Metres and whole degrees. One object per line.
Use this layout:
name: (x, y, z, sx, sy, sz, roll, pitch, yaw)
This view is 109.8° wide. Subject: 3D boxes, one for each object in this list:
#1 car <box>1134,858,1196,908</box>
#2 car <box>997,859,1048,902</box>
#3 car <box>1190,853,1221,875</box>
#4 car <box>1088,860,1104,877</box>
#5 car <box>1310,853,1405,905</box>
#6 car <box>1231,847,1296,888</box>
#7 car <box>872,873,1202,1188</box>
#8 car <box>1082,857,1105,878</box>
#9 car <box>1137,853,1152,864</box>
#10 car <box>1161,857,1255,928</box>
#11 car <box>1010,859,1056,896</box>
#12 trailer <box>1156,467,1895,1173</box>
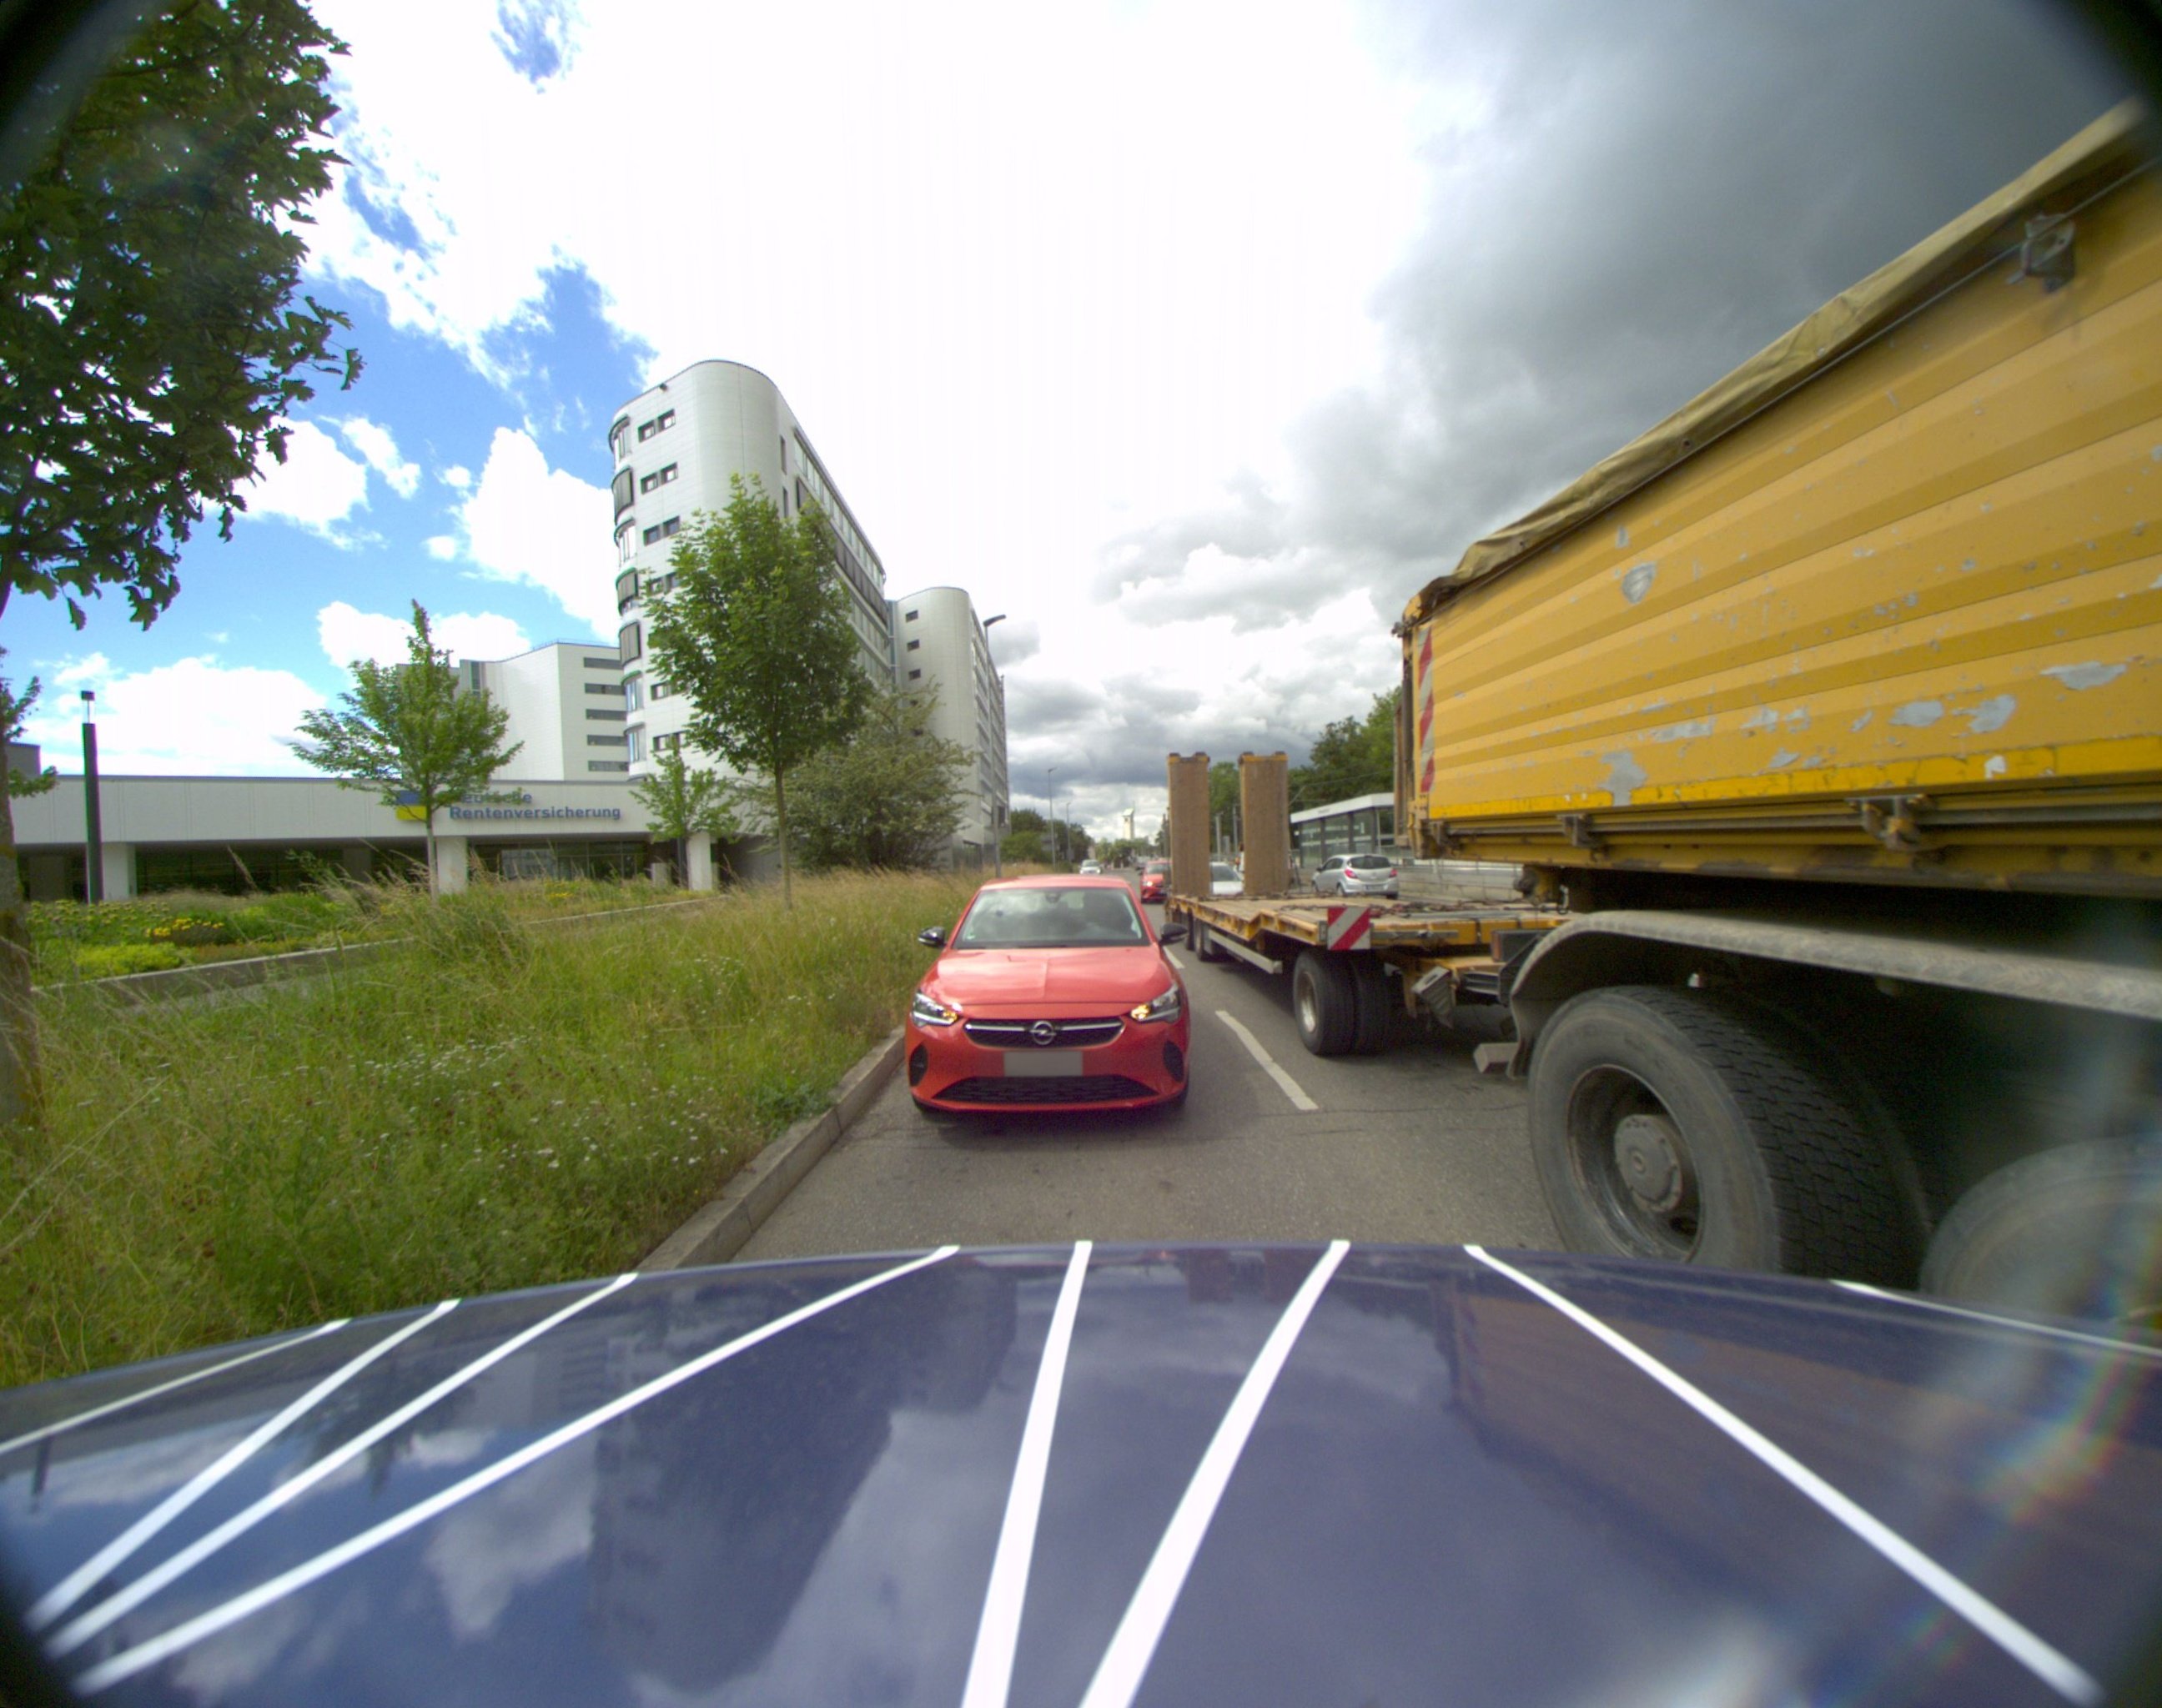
car: (2.805, 0.930, 26.172, 1.692, 1.471, 3.999, -2, 1, 1)
car: (-2.293, 1.007, 30.657, 1.738, 1.565, 3.445, -2, 0, 0)
car: (9.085, 0.738, 55.636, 1.644, 1.489, 3.554, -2, 0, 1)
car: (1.904, 1.857, 96.354, 1.998, 2.002, 4.000, -2, 0, 1)
car: (8.561, 0.725, 23.848, 1.705, 1.449, 3.566, -2, 0, 1)
car: (8.571, 0.625, 36.116, 1.887, 1.761, 4.864, -2, 0, 1)
car: (-0.205, 0.990, 6.019, 1.692, 1.471, 3.999, -2, 1, 1)
car: (0.993, 1.077, 61.301, 1.738, 1.565, 3.445, -2, 0, 0)
car: (8.548, 0.607, 102.335, 1.770, 1.489, 3.554, -2, 0, 1)
car: (3.083, 0.877, 19.195, 1.692, 1.471, 3.999, -2, 1, 1)
car: (-2.182, 1.042, 35.525, 1.850, 1.565, 4.623, -2, 0, 0)
trailer: (2.808, -0.162, 9.330, 2.713, 3.501, 10.914, -2, 0, 1)
